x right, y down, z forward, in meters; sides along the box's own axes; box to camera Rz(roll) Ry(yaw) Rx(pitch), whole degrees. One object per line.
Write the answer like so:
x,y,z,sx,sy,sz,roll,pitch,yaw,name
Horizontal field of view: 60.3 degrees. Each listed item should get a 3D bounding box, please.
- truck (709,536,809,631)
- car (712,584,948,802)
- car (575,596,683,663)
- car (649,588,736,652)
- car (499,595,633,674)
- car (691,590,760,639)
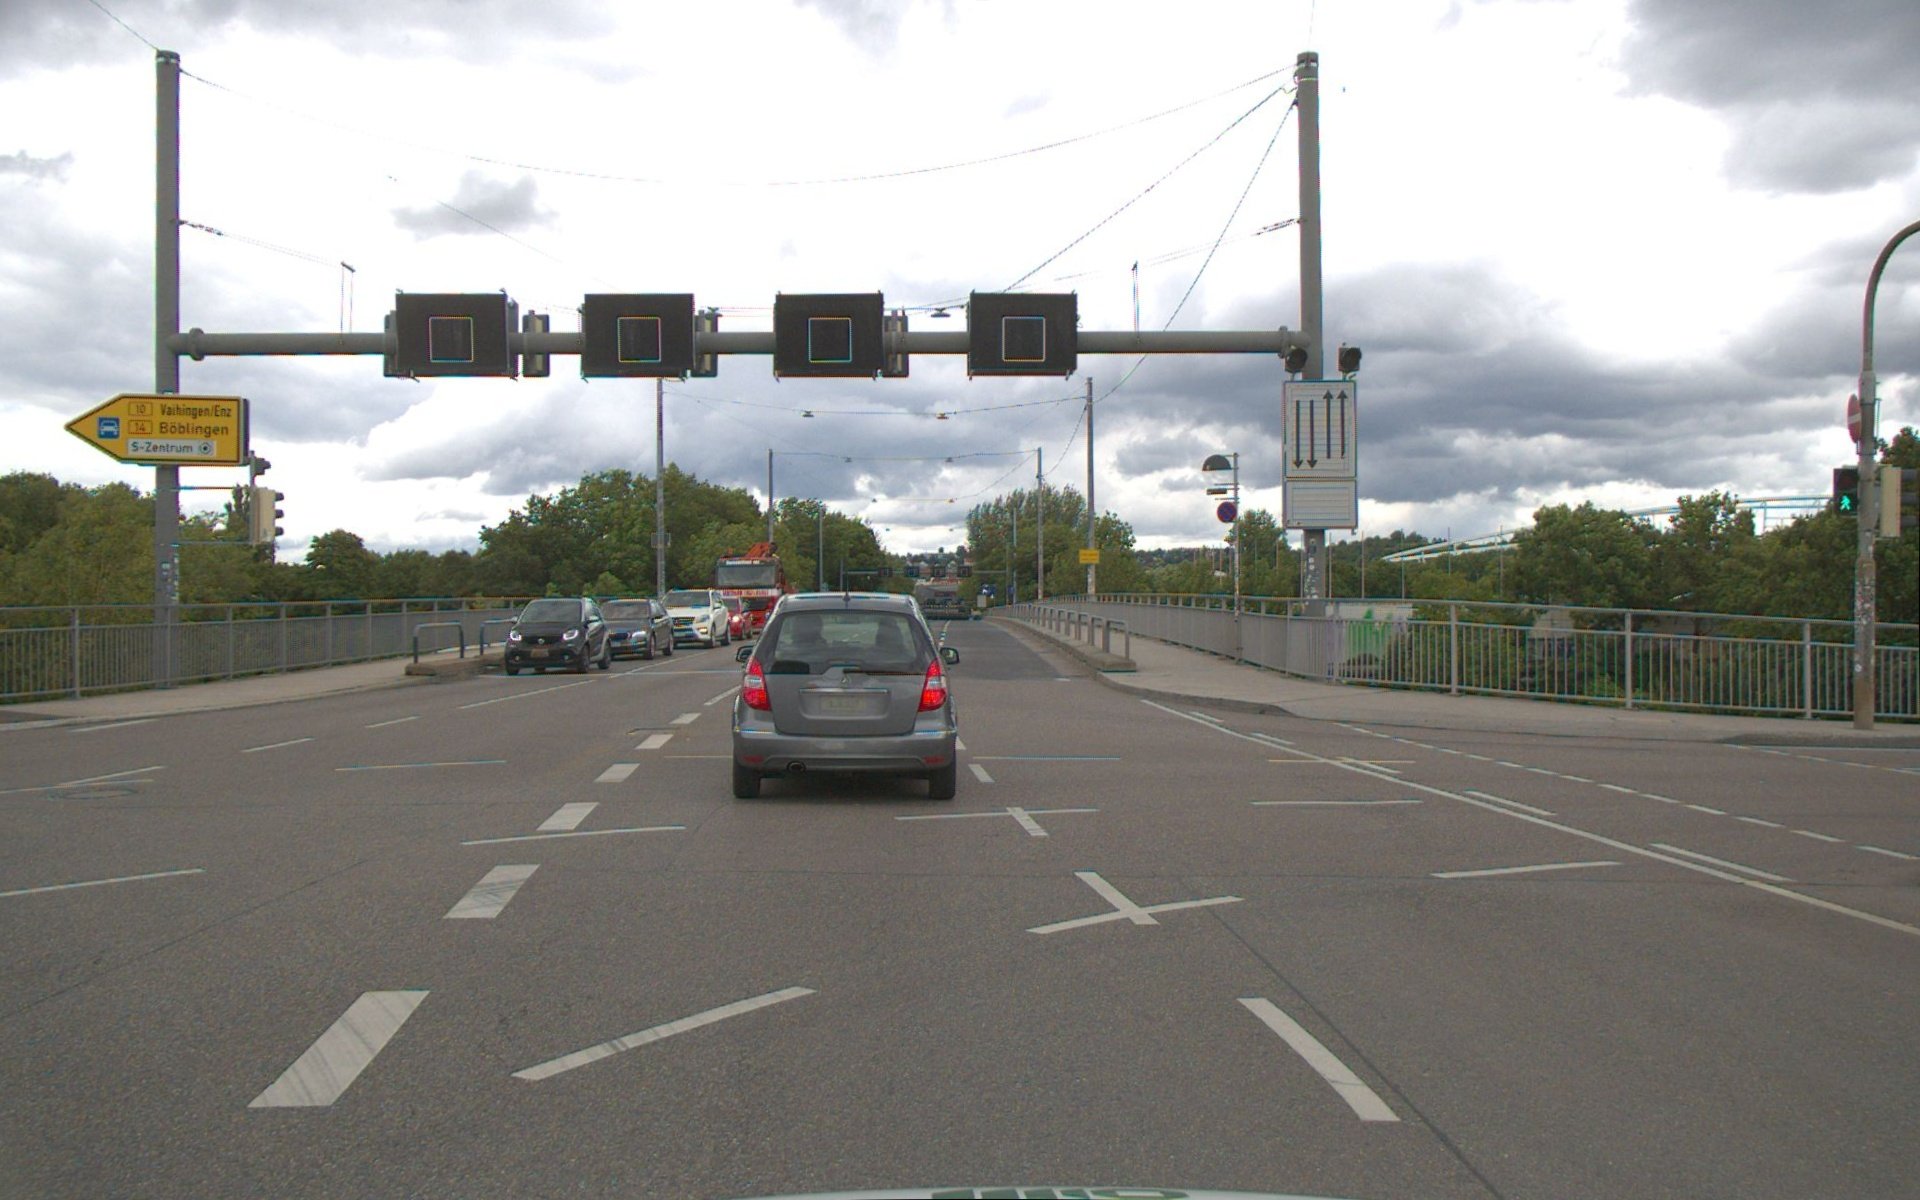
-8.257,-0.660,69.211,2.944,3.628,9.981,-1,0,0,truck
-0.963,0.664,13.987,1.710,1.577,3.871,0,0,-1,car
-8.237,0.685,41.496,1.798,1.530,4.516,-1,0,0,car
-7.988,0.559,49.747,1.841,1.792,4.802,-1,0,0,car
-8.322,0.690,35.264,1.797,1.530,3.872,-1,0,2,car
-8.220,0.468,58.284,1.841,1.631,4.015,-1,0,0,car
